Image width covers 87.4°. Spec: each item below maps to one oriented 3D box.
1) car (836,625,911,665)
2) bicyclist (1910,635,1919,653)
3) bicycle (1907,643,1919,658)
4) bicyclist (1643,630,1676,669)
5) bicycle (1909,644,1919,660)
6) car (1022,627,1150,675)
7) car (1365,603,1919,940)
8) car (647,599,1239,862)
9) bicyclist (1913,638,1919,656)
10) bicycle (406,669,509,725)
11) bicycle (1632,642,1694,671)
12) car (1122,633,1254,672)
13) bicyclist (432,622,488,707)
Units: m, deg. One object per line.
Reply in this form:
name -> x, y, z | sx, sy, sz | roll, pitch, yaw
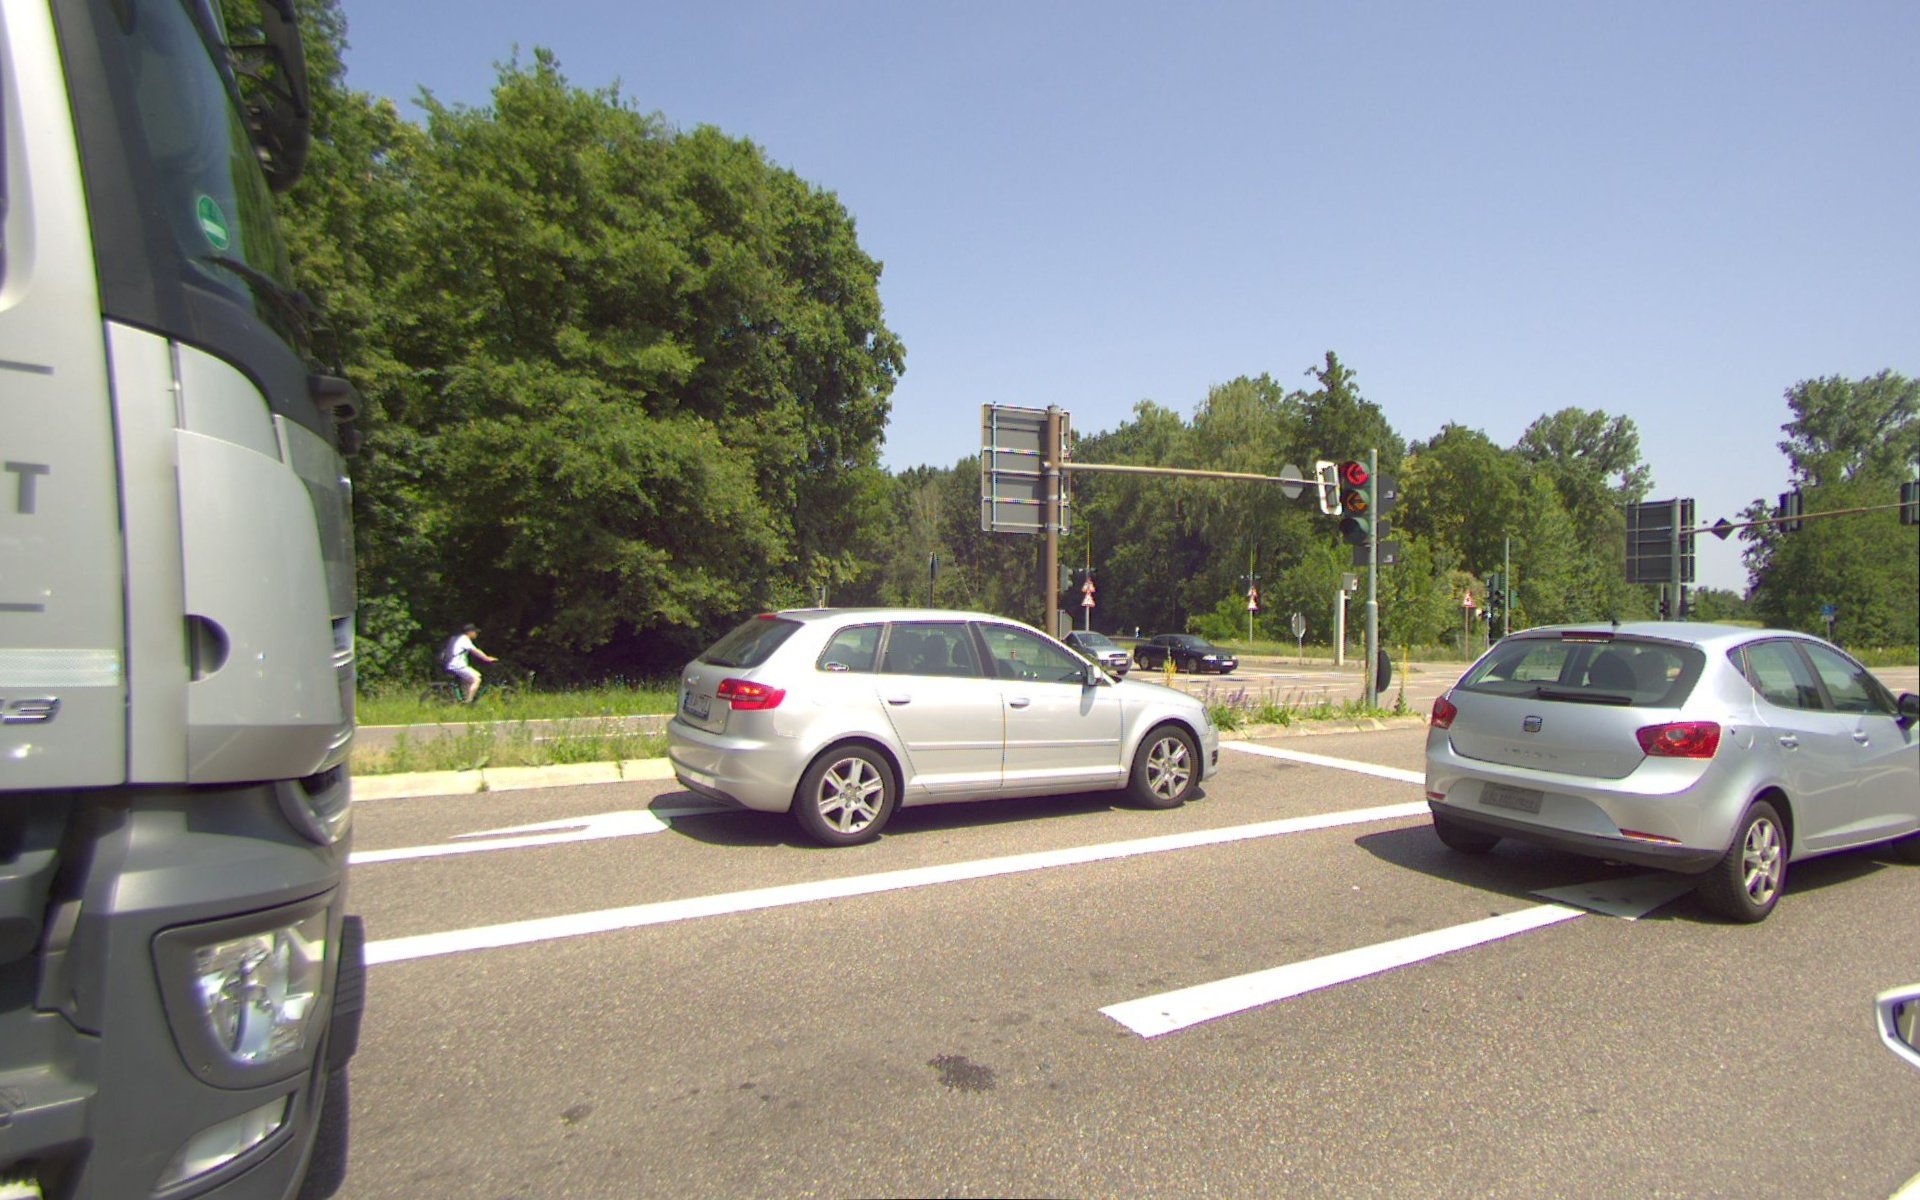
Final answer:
car -> -4.477, 2.250, 51.183 | 1.977, 1.923, 4.782 | 1, -2, -30
bicyclist -> 64.900, 3.001, 67.970 | 0.583, 1.211, 0.735 | 1, -2, -19
bicycle -> 64.933, 3.441, 67.988 | 1.531, 1.019, 0.604 | 1, -2, -20
bicyclist -> 27.095, 1.904, 38.907 | 0.701, 1.479, 0.927 | 0, -1, 7
bicycle -> 63.214, 3.403, 65.875 | 1.773, 1.018, 0.675 | 1, -2, -21
car -> 4.426, 1.756, 35.926 | 2.105, 1.588, 4.782 | 1, -2, -30
car -> 4.404, 0.790, 6.067 | 3.783, 1.449, 1.657 | 1, 0, -30
car -> -0.026, 0.744, 7.286 | 3.971, 1.410, 1.755 | 1, 0, -33
bicyclist -> 63.162, 3.071, 65.867 | 0.583, 1.211, 0.756 | 1, -2, -20
bicycle -> -8.975, 1.721, 17.986 | 1.581, 0.935, 0.564 | 1, -1, -21
bicycle -> 27.216, 2.186, 38.896 | 1.831, 1.077, 0.725 | 0, -1, 7
car -> 8.258, 1.873, 36.898 | 2.081, 1.307, 4.783 | 1, -2, -30
bicyclist -> -8.950, 1.135, 18.010 | 0.798, 1.484, 0.658 | 1, -1, -21
